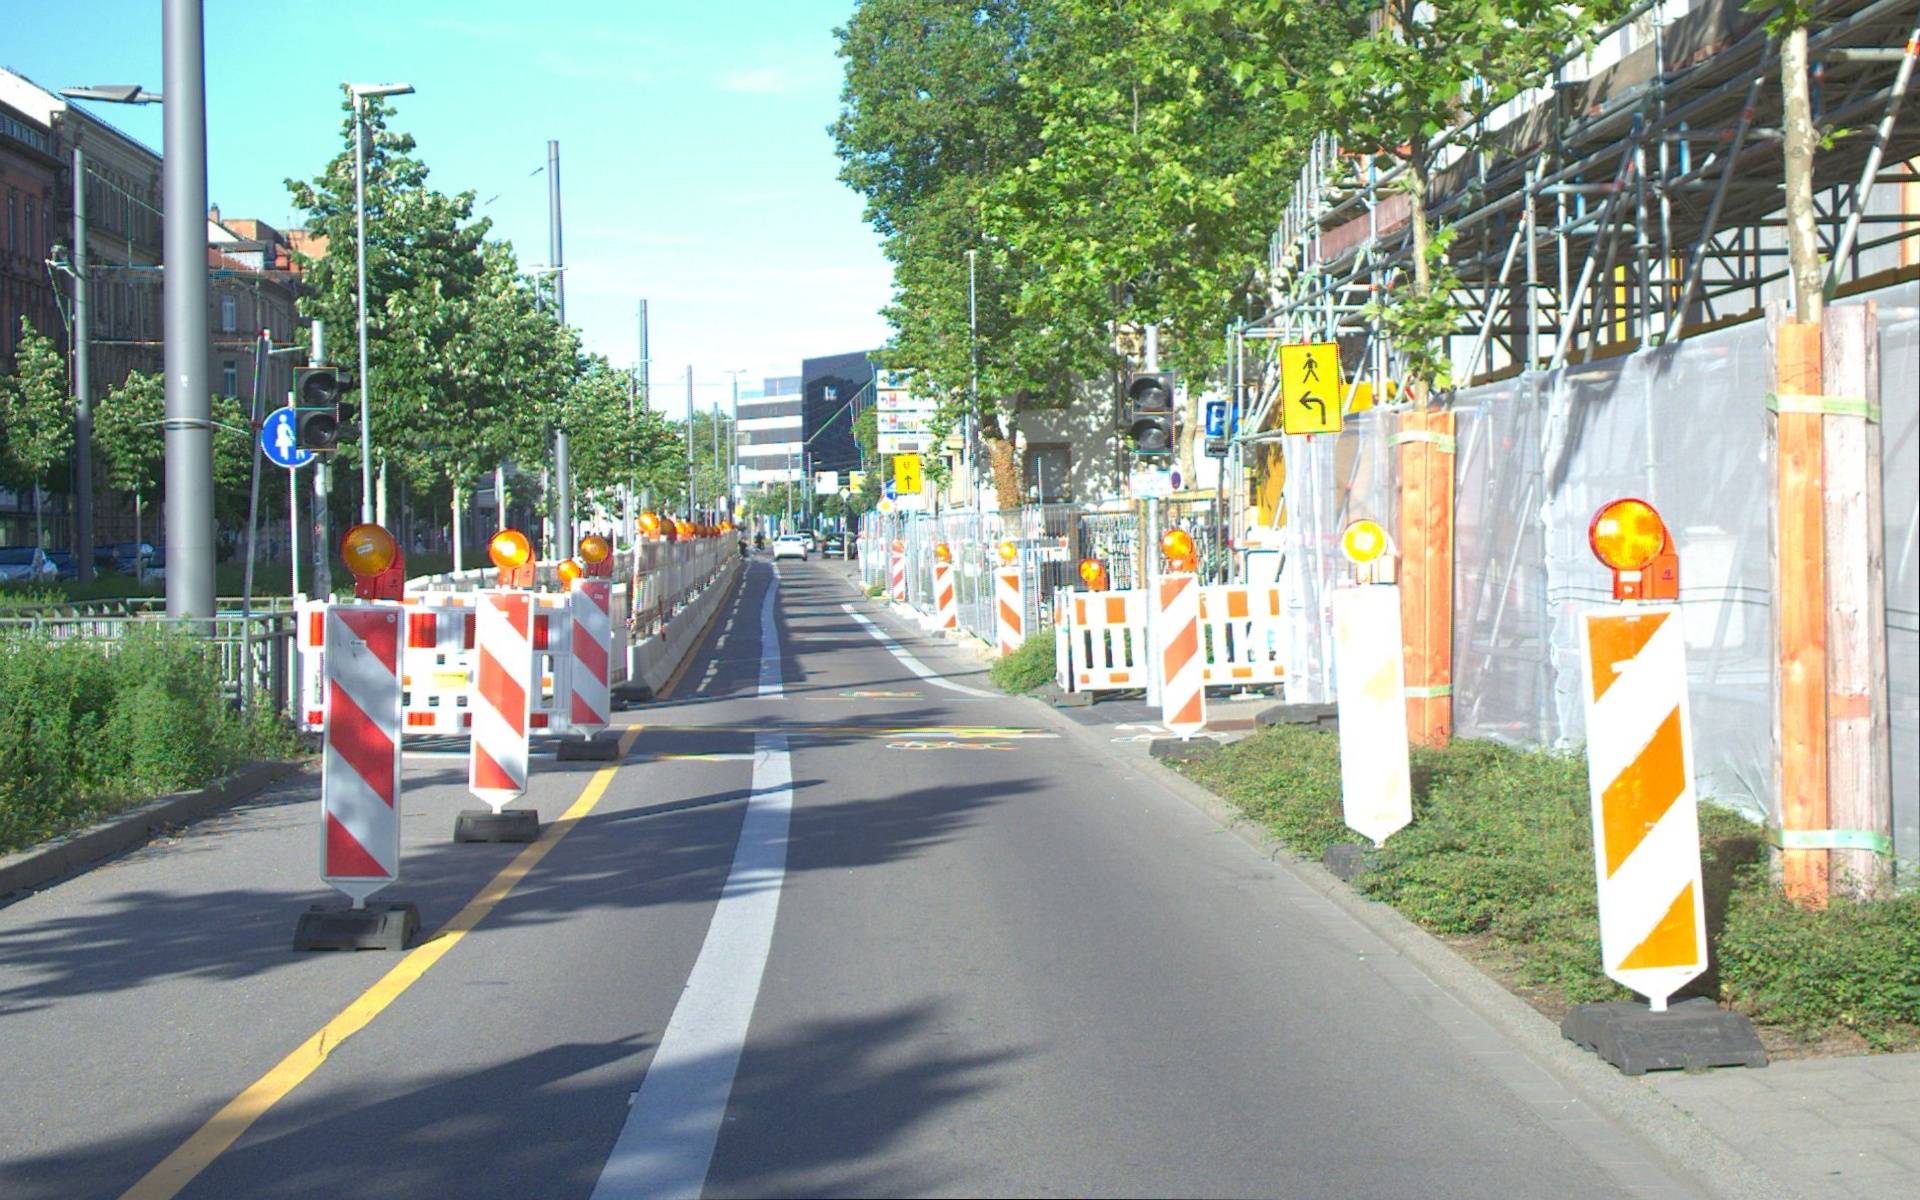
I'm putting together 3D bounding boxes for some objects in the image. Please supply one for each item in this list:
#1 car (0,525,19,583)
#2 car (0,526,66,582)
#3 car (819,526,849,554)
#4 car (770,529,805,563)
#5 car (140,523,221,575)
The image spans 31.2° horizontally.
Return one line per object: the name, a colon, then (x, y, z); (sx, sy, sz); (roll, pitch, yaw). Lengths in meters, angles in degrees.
car: (-26.867, -1.223, 93.280); (1.566, 1.557, 4.715); (-1, 2, -3)
car: (-27.255, -1.359, 99.873); (1.566, 1.557, 4.715); (-1, 2, -3)
car: (-8.281, -3.962, 226.462); (1.883, 1.836, 3.668); (-1, 2, -3)
car: (-9.730, -3.055, 193.882); (1.883, 1.836, 3.668); (-1, 2, -3)
car: (-22.856, -1.516, 100.918); (1.595, 1.478, 3.624); (-1, 1, -1)
